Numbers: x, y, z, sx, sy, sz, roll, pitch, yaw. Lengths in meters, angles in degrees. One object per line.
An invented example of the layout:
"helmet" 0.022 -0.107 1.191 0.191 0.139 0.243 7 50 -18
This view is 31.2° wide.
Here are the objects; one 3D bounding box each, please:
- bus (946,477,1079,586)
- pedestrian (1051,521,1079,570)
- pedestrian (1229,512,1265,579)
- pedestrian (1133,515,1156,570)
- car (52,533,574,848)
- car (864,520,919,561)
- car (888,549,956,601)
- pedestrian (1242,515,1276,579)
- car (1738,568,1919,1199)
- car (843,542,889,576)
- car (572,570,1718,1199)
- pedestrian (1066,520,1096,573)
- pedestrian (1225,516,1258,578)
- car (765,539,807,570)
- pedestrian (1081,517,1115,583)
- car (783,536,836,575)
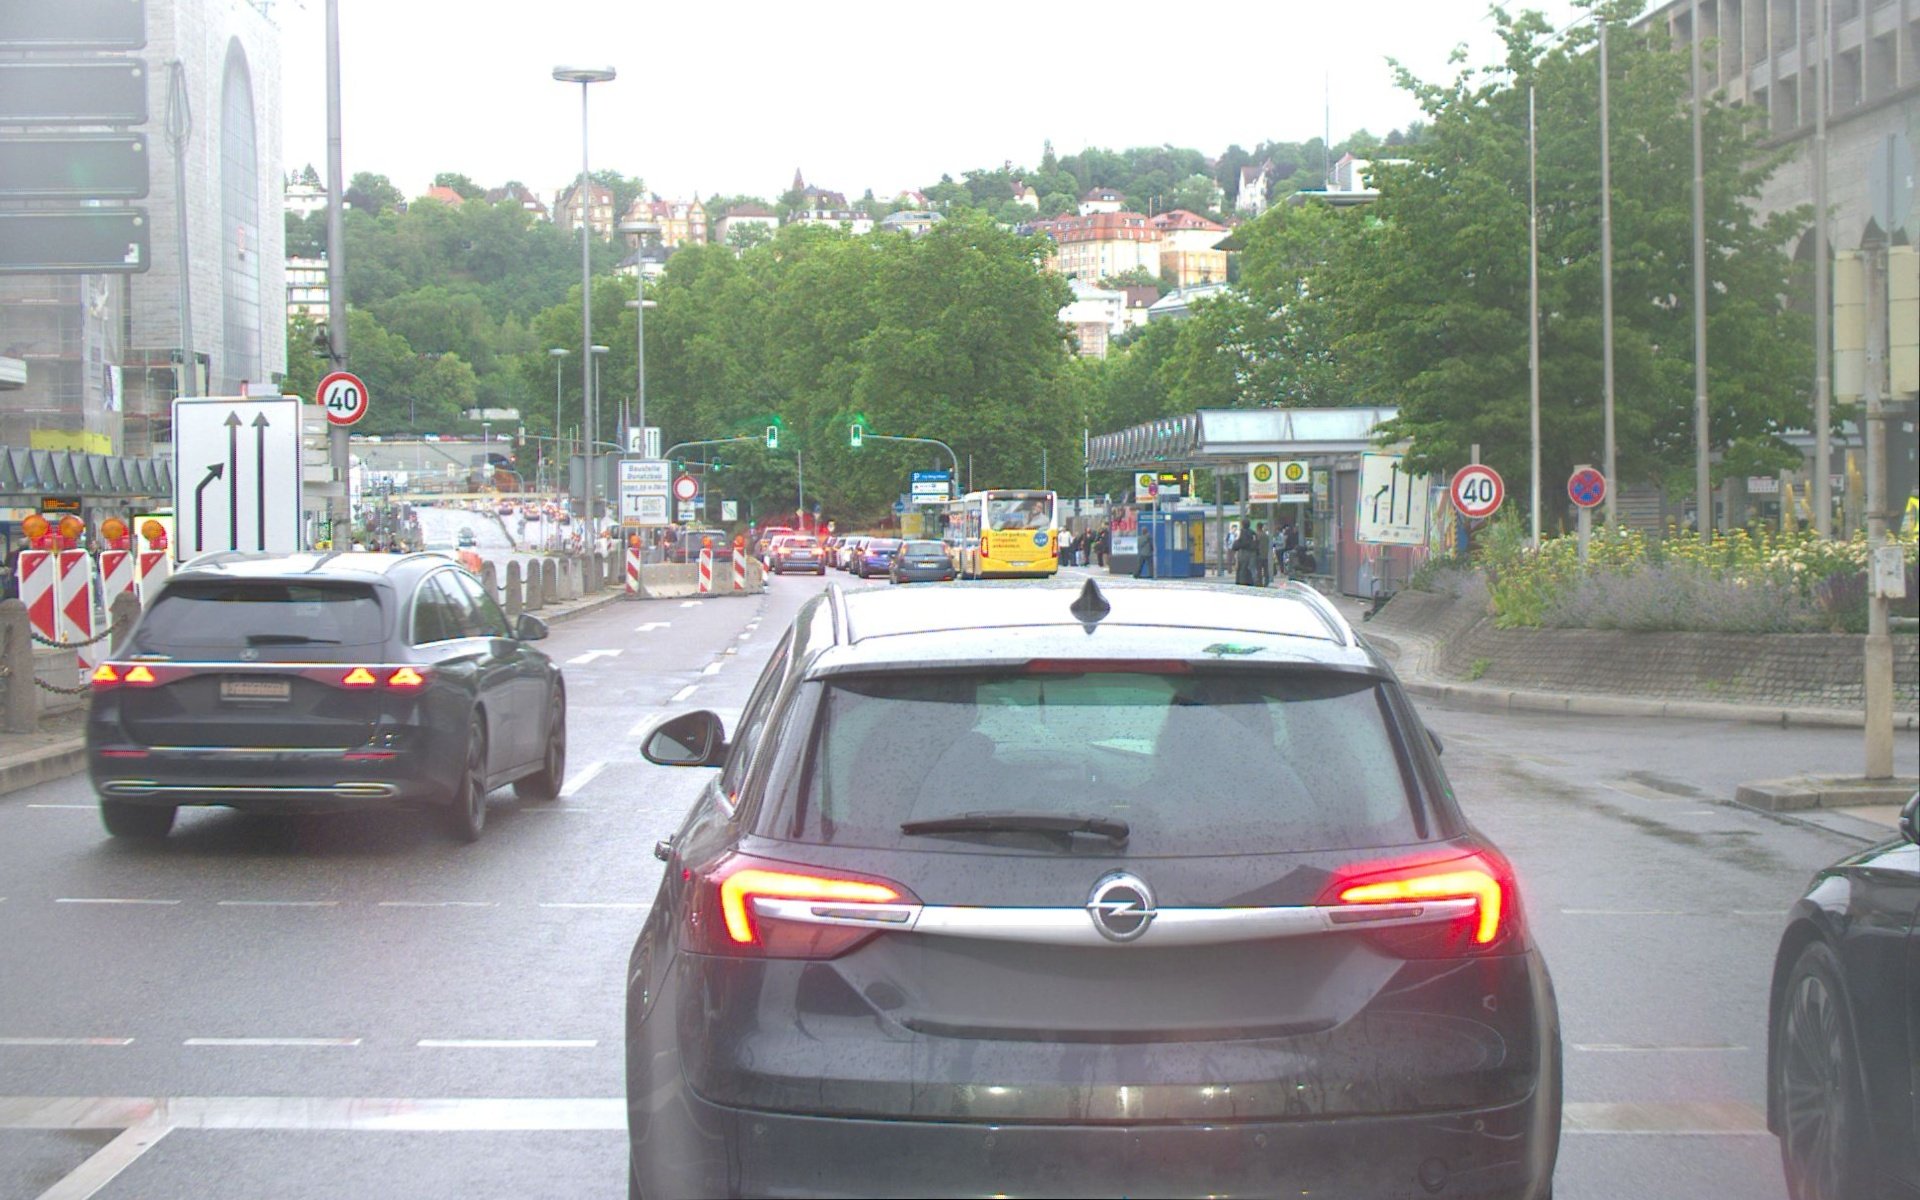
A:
"bus" 1.681 -2.274 119.151 4.173 3.457 14.654 1 0 -1
"pedestrian" 4.638 -2.412 151.910 1.199 2.141 1.228 1 0 1
"pedestrian" 7.320 -1.394 87.776 0.763 1.684 0.825 1 0 -5
"pedestrian" 5.778 -1.804 107.785 0.657 1.684 0.609 1 0 0
"car" -3.327 0.414 18.595 1.855 1.464 4.587 1 0 1
"car" -2.466 -2.102 122.278 1.753 1.393 4.649 1 0 -3
"car" -1.071 -0.690 96.478 1.845 1.393 3.667 1 0 -1
"pedestrian" 8.051 -1.425 92.609 0.763 1.684 0.825 1 0 -5
"car" 2.736 0.708 5.576 1.793 1.496 4.629 1 0 -1
"car" -3.950 -1.734 145.193 1.845 1.393 3.564 1 1 -1
"car" 0.263 0.694 7.666 1.874 1.481 4.000 1 0 -1
"pedestrian" 4.962 -2.190 141.178 1.199 2.141 1.228 1 0 1
"pedestrian" 7.677 -1.438 93.764 0.763 1.684 0.825 1 0 -5
"car" -7.934 -2.070 156.937 1.759 1.393 3.564 1 0 -1
"pedestrian" 5.113 -1.837 127.603 1.199 2.427 1.228 1 0 1
"car" -5.601 -1.652 128.277 1.845 1.393 3.564 1 0 -1
